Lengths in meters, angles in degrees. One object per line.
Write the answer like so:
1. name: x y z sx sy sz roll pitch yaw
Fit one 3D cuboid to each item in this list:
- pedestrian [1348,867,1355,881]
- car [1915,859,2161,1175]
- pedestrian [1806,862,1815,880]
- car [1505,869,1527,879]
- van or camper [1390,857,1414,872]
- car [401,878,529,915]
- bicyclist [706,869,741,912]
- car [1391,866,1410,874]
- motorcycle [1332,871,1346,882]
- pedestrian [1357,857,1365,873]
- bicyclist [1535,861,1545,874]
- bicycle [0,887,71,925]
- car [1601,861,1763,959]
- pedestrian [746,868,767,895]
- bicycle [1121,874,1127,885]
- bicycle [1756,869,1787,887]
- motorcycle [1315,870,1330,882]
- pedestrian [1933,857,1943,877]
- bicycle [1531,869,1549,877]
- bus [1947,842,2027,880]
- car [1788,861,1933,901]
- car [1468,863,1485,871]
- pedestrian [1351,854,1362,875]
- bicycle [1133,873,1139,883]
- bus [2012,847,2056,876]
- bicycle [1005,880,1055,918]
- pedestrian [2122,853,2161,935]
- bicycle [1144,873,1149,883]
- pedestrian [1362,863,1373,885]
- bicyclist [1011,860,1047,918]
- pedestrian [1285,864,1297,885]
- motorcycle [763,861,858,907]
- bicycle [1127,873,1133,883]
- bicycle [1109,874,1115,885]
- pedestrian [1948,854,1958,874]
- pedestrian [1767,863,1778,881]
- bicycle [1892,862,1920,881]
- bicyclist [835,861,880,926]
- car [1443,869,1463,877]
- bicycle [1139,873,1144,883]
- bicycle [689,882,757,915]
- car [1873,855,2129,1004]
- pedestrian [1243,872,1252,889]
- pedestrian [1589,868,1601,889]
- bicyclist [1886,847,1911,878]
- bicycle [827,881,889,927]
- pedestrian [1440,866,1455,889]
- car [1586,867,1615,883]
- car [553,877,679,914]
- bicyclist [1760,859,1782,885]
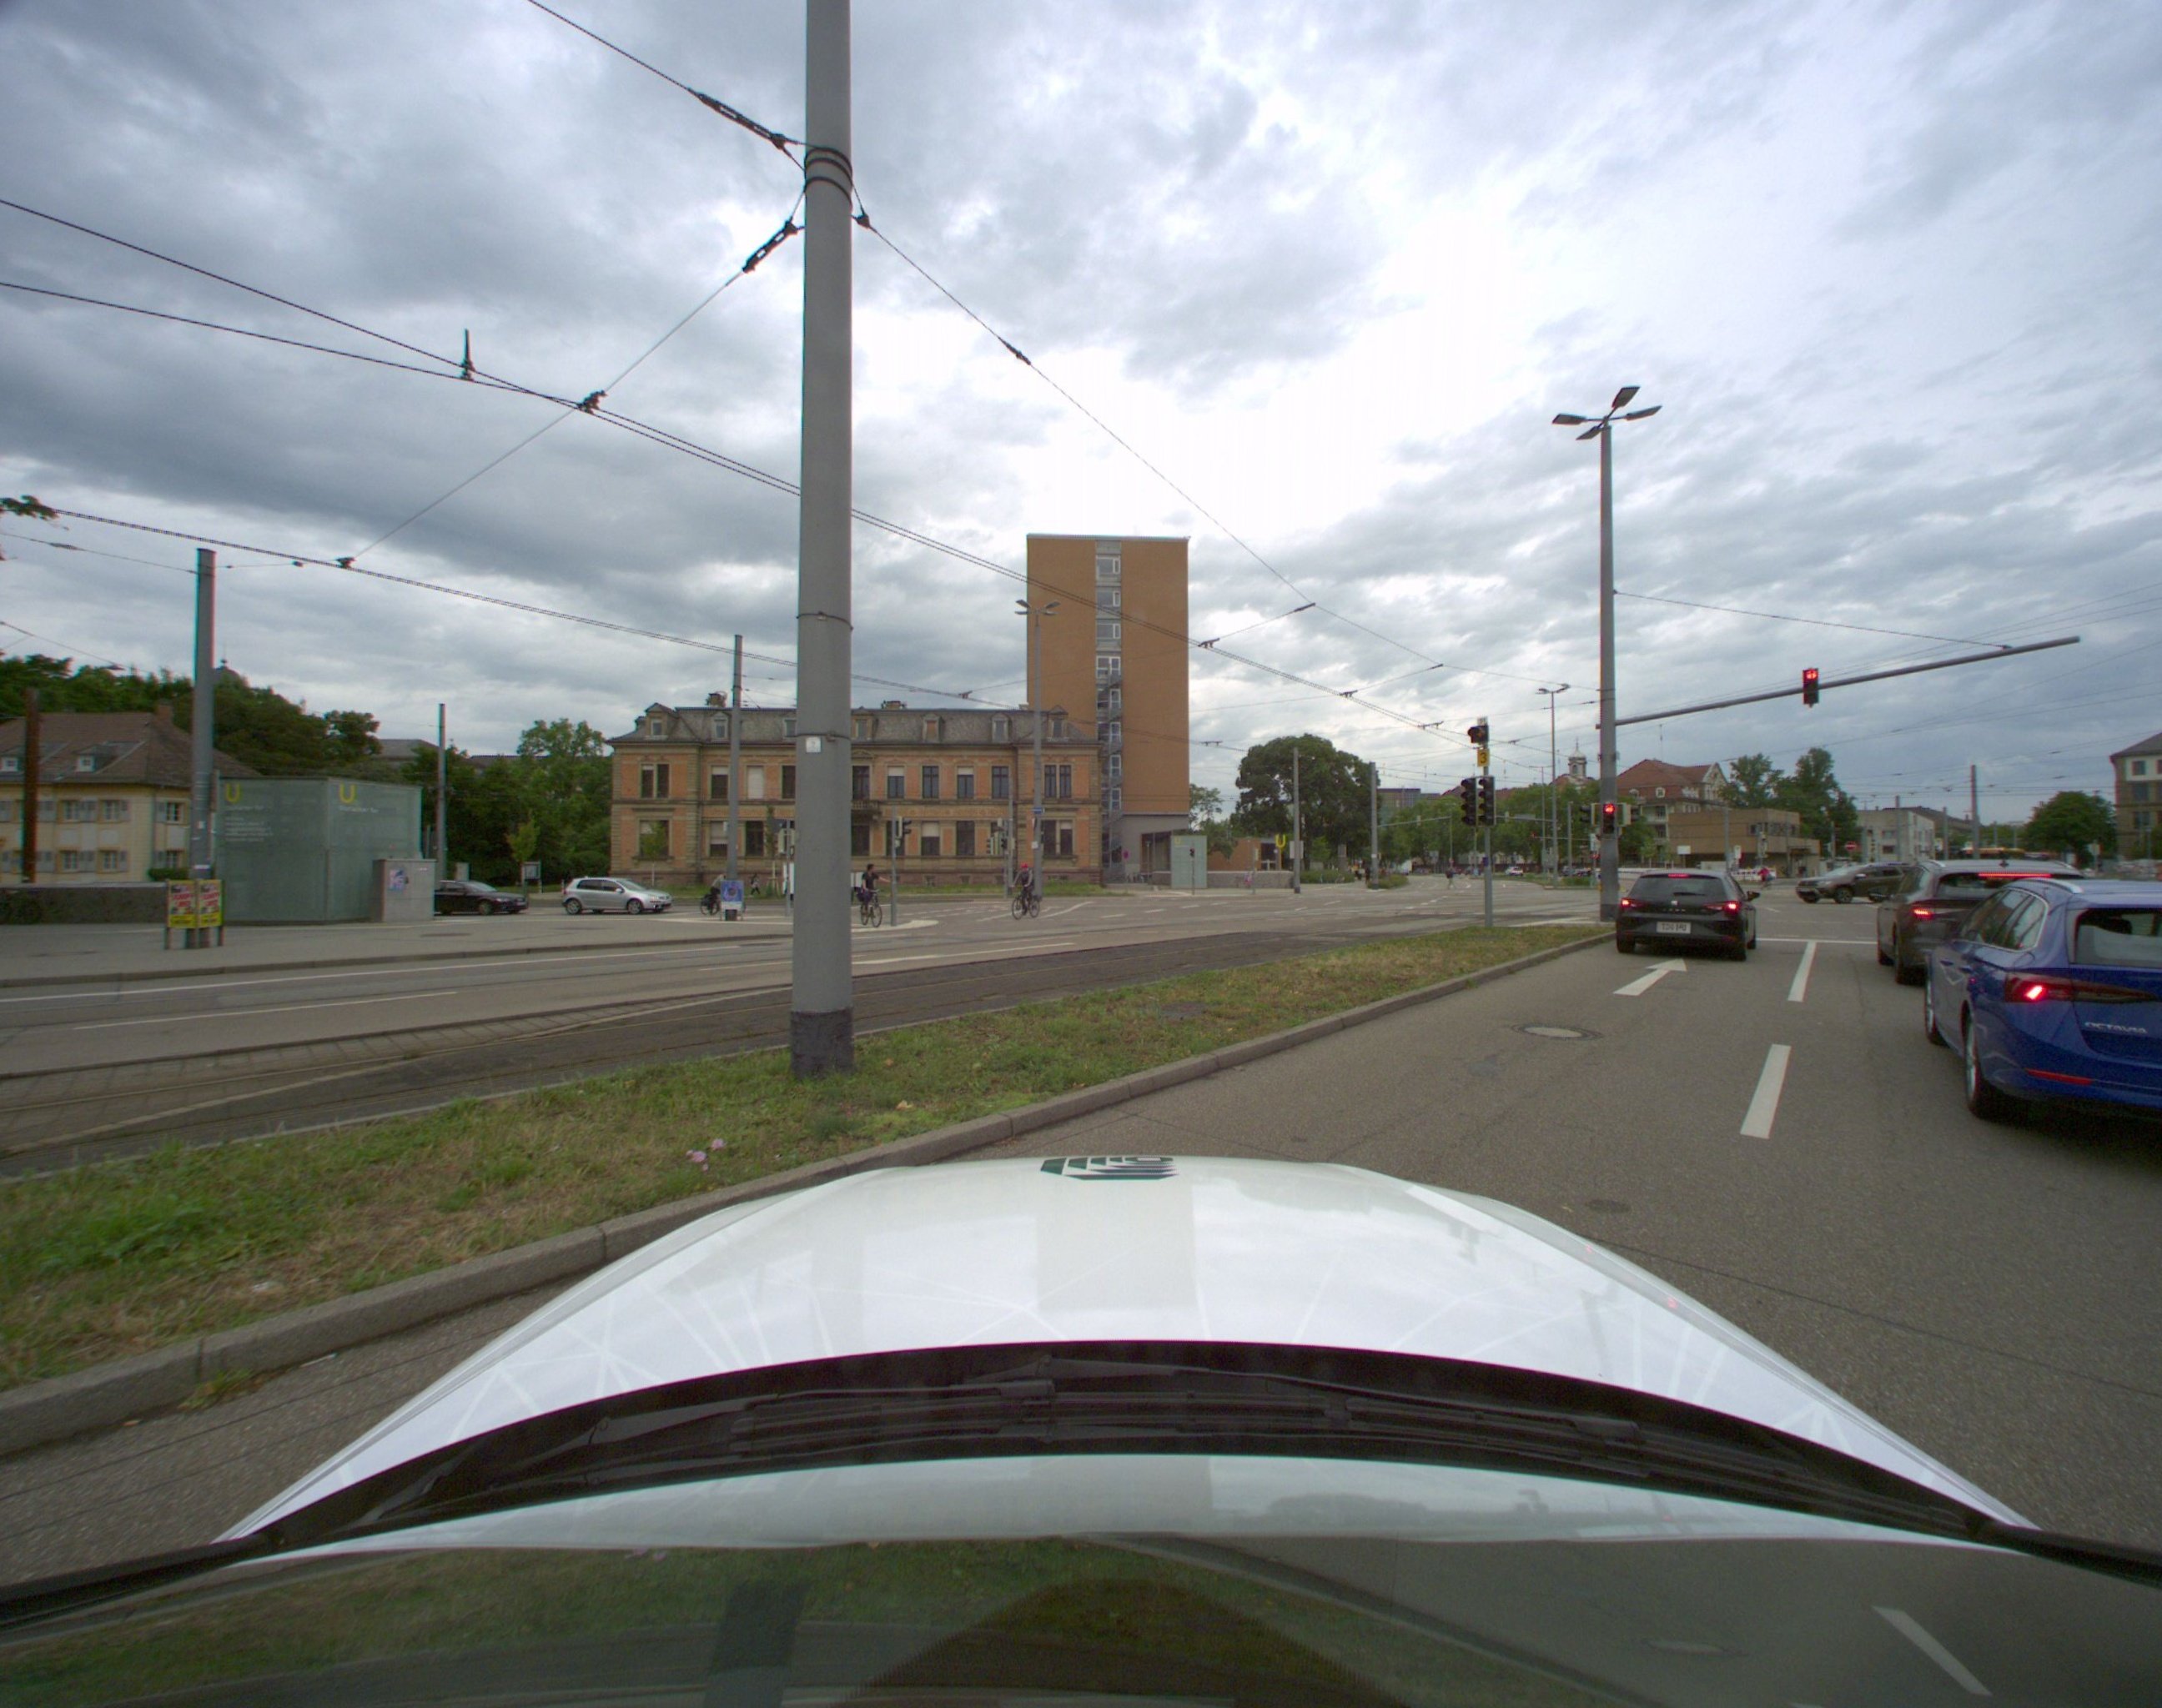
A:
1. pedestrian: 40.101 2.989 120.546 0.870 1.982 0.800 -1 -3 24
2. car: 6.836 0.796 5.275 1.763 1.488 4.492 -2 -2 43
3. pedestrian: 79.487 1.880 88.702 0.714 1.918 0.615 1 -2 -44
4. car: 65.498 2.961 122.651 1.765 1.464 4.011 0 0 10
5. van or camper: 68.460 2.264 173.751 2.384 3.124 5.492 0 -1 -6
6. car: -25.207 1.721 33.385 4.107 1.449 1.700 0 -1 7
7. bicyclist: -13.649 1.399 31.116 0.911 1.623 0.856 -1 -2 2
8. car: 61.456 3.049 156.684 1.773 1.464 3.992 0 -1 -6
9. motorcycle: 27.851 2.429 87.847 1.751 1.111 0.506 0 -1 -35
10. pedestrian: 36.189 1.448 105.256 0.789 1.982 0.883 0 -2 8
11. bicyclist: 75.221 2.189 133.392 0.978 2.014 0.934 0 -1 -19
12. bicycle: -33.074 1.612 25.391 2.344 1.115 0.741 0 -1 4
13. car: 10.448 0.853 14.048 1.689 1.449 3.834 -1 -1 45
14. pedestrian: -21.126 1.790 53.087 1.123 1.763 0.755 0 -1 -10
15. bicycle: 4.533 2.703 86.779 0.569 1.106 1.428 0 -1 0
16. bicycle: 46.854 1.616 55.322 0.884 1.178 2.314 0 -1 21
17. motorcycle: 25.849 2.317 87.060 1.464 1.268 0.511 0 -1 -4
18. pedestrian: 84.769 1.282 80.566 0.702 1.918 0.616 1 -2 -38
19. bicycle: 75.111 3.098 133.340 2.729 1.179 0.936 0 -1 -19
20. bus: 79.534 0.594 71.410 11.581 3.123 2.939 0 -1 -33
21. car: 32.441 1.103 34.000 4.197 1.640 1.805 0 -1 3
22. car: 69.703 2.245 143.532 1.765 1.464 4.011 0 0 10
23. pedestrian: 26.266 0.986 77.632 0.920 1.948 0.918 -1 -1 24
24. bicycle: 5.869 2.573 86.837 0.506 1.049 1.428 0 -1 0
25. bus: 114.752 0.907 98.033 11.043 3.283 2.633 0 -1 -37
26. bicycle: -1.683 1.484 27.323 0.817 1.208 2.245 -2 -2 19
27. pedestrian: 25.533 0.936 19.173 1.097 1.907 0.735 0 -1 0
28. bicycle: 6.989 2.535 86.908 0.479 1.049 1.428 0 -1 0
29. pedestrian: 27.191 1.918 77.278 0.920 2.014 1.017 -1 -3 23
30. bicyclist: -1.723 1.163 27.226 0.822 1.892 1.054 -2 -2 19
31. pedestrian: 20.662 2.044 80.240 1.011 2.014 0.851 -1 -1 23
32. motorcycle: -12.128 1.321 36.659 3.663 2.014 1.696 0 -1 0
33. bicycle: 5.205 2.573 86.827 0.569 1.106 1.428 0 -1 0
34. bicycle: 3.339 2.698 86.747 0.569 1.106 1.428 0 -1 0
35. pedestrian: 86.850 1.008 81.149 0.714 1.918 0.615 1 -2 -44
36. pedestrian: 71.515 1.846 84.191 0.626 1.918 0.702 1 -2 -40
37. bicycle: 49.058 1.006 48.440 0.857 1.104 2.316 -1 -1 38
38. bicyclist: -6.427 1.113 23.412 1.016 1.798 0.821 -2 -1 44
39. car: 69.783 3.483 152.831 1.772 1.464 3.996 0 0 -3
40. bicycle: 6.462 2.551 86.902 0.479 1.049 1.428 0 -1 0
41. bicycle: -13.653 1.695 31.103 2.182 1.208 0.858 -1 -2 2
42. car: 12.065 0.834 11.001 1.760 1.597 4.537 -1 -1 42
43. pedestrian: 13.228 2.083 64.689 0.571 1.336 0.497 0 -1 -8
44. pedestrian: 37.996 1.796 60.230 0.720 1.542 0.420 -1 -1 30
45. bicyclist: 49.069 0.513 48.889 0.863 1.851 1.054 -1 -2 37
46. bicycle: -6.421 1.416 23.406 1.975 1.242 0.821 -3 -2 44
47. pedestrian: 30.718 1.956 68.219 1.019 1.934 0.704 -1 -1 17
48. car: 58.282 2.375 91.483 1.976 1.684 4.020 -1 -2 21
49. car: -18.837 1.668 33.095 4.127 1.454 1.764 0 -1 5
50. bicyclist: 46.864 1.206 55.310 0.875 1.732 0.899 0 -1 21
